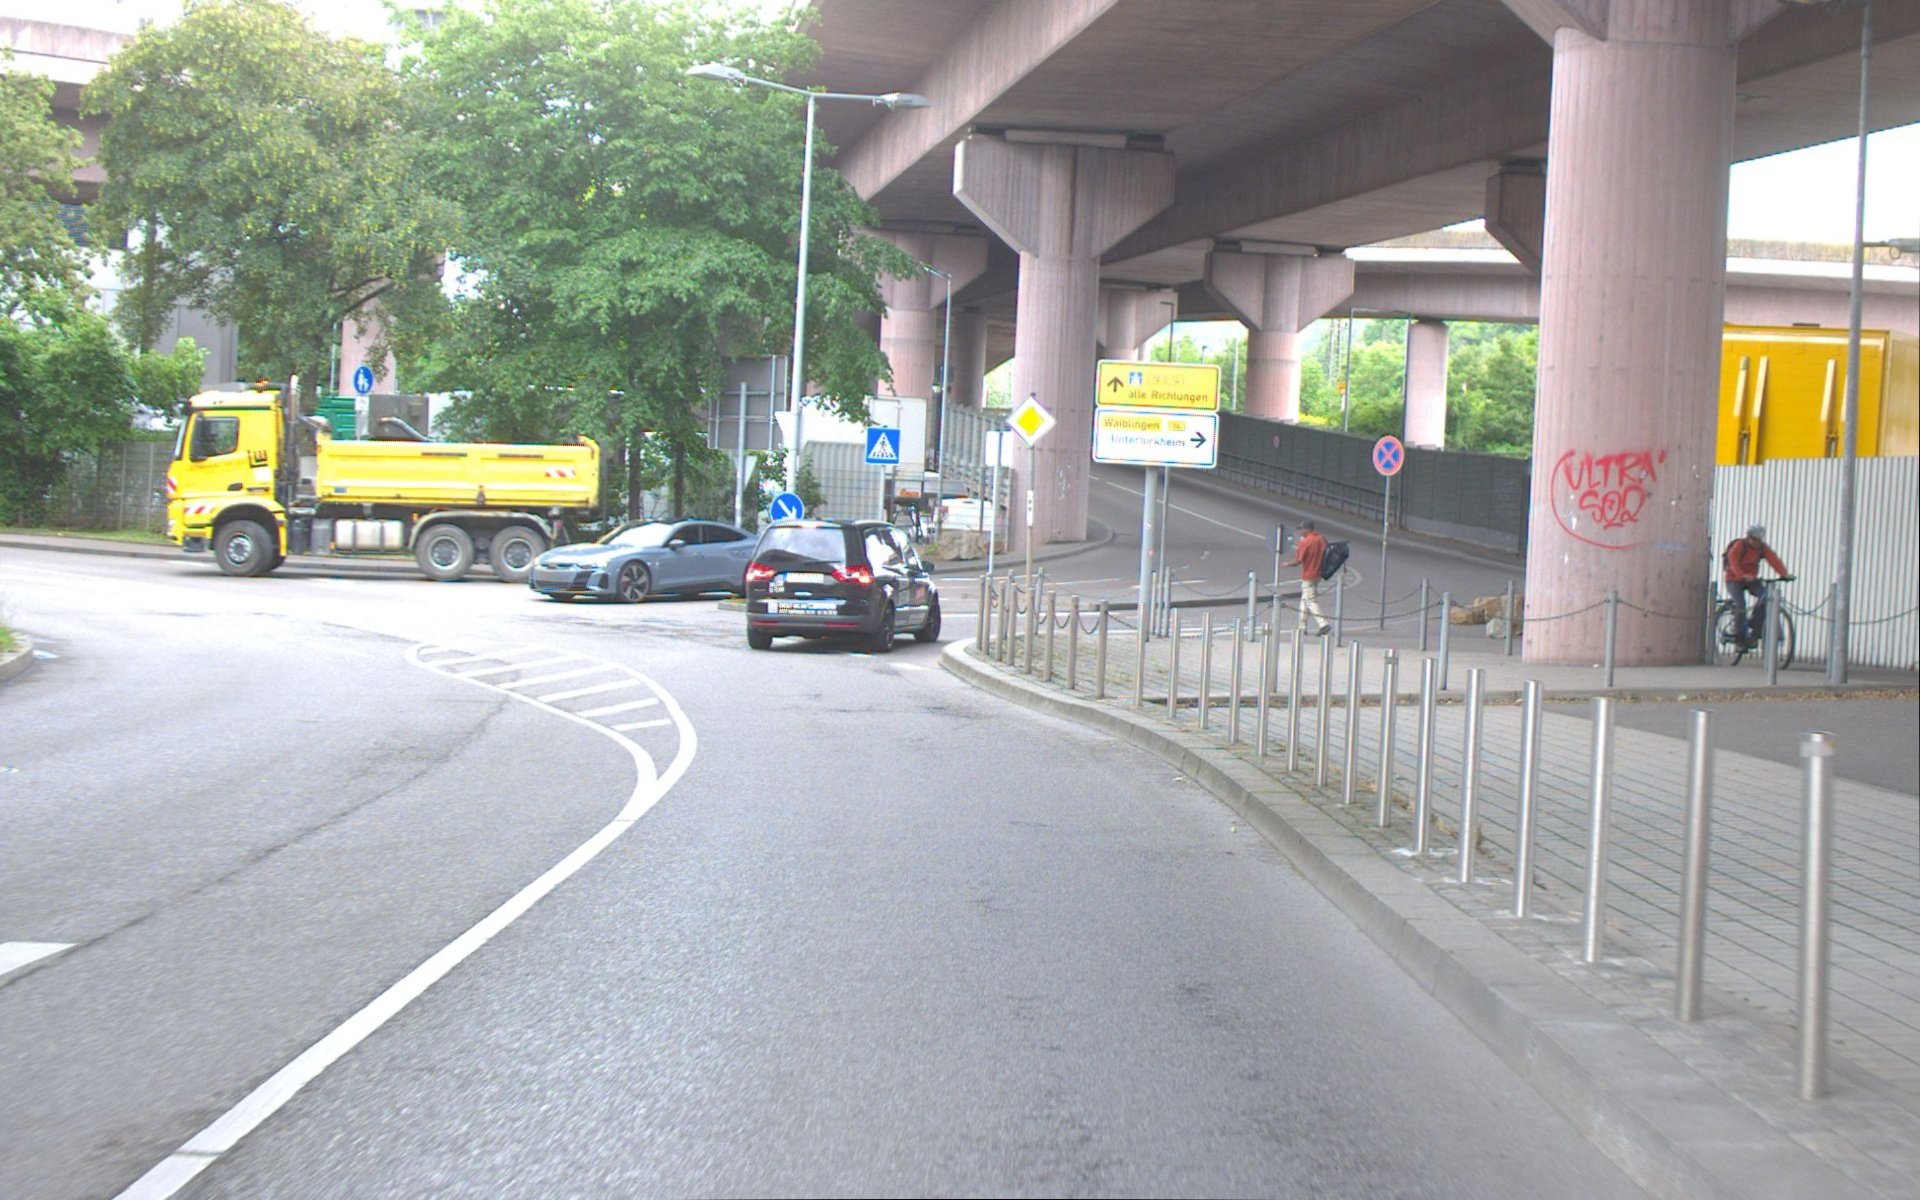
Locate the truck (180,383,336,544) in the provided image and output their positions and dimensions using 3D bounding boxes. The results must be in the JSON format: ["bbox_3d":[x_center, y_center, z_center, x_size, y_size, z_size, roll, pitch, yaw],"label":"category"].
[{"bbox_3d":[-22.119,-4.358,107.989,3.202,4.763,8.051,1,3,-23],"label":"truck"}]

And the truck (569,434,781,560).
[{"bbox_3d":[-7.275,-2.645,86.857,2.915,2.888,6.560,1,3,-28],"label":"truck"}]

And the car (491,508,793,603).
[{"bbox_3d":[-5.360,-0.747,58.427,2.172,1.496,4.920,3,2,42],"label":"car"}]

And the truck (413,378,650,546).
[{"bbox_3d":[-10.691,-3.484,84.946,3.065,3.854,8.050,1,3,-28],"label":"truck"}]

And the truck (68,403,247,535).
[{"bbox_3d":[-24.416,-4.014,104.272,3.055,3.606,7.917,1,3,-30],"label":"truck"}]

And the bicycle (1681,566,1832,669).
[{"bbox_3d":[8.965,0.183,38.778,0.802,1.094,2.132,1,1,-12],"label":"bicycle"}]

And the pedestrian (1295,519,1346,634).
[{"bbox_3d":[5.320,-0.344,50.732,0.536,1.670,0.558,0,2,-18],"label":"pedestrian"}]

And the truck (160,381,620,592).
[{"bbox_3d":[-10.589,-2.159,64.440,8.216,3.469,2.938,2,5,-7],"label":"truck"}]

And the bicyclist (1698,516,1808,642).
[{"bbox_3d":[8.953,-0.244,38.848,0.795,1.400,1.067,1,1,-12],"label":"bicyclist"}]

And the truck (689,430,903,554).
[{"bbox_3d":[-4.302,-2.819,88.527,2.915,2.888,6.560,1,3,-28],"label":"truck"}]

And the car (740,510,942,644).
[{"bbox_3d":[-1.522,-0.336,45.669,1.994,1.673,4.559,1,1,7],"label":"car"}]

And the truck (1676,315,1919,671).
[{"bbox_3d":[14.148,-1.499,51.724,3.144,4.900,8.699,3,1,36],"label":"truck"}]

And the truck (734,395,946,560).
[{"bbox_3d":[-3.456,-3.481,95.890,3.065,4.284,8.051,1,3,-23],"label":"truck"}]

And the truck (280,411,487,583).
[{"bbox_3d":[-14.334,-2.578,85.033,3.065,3.949,6.925,2,1,-26],"label":"truck"}]
